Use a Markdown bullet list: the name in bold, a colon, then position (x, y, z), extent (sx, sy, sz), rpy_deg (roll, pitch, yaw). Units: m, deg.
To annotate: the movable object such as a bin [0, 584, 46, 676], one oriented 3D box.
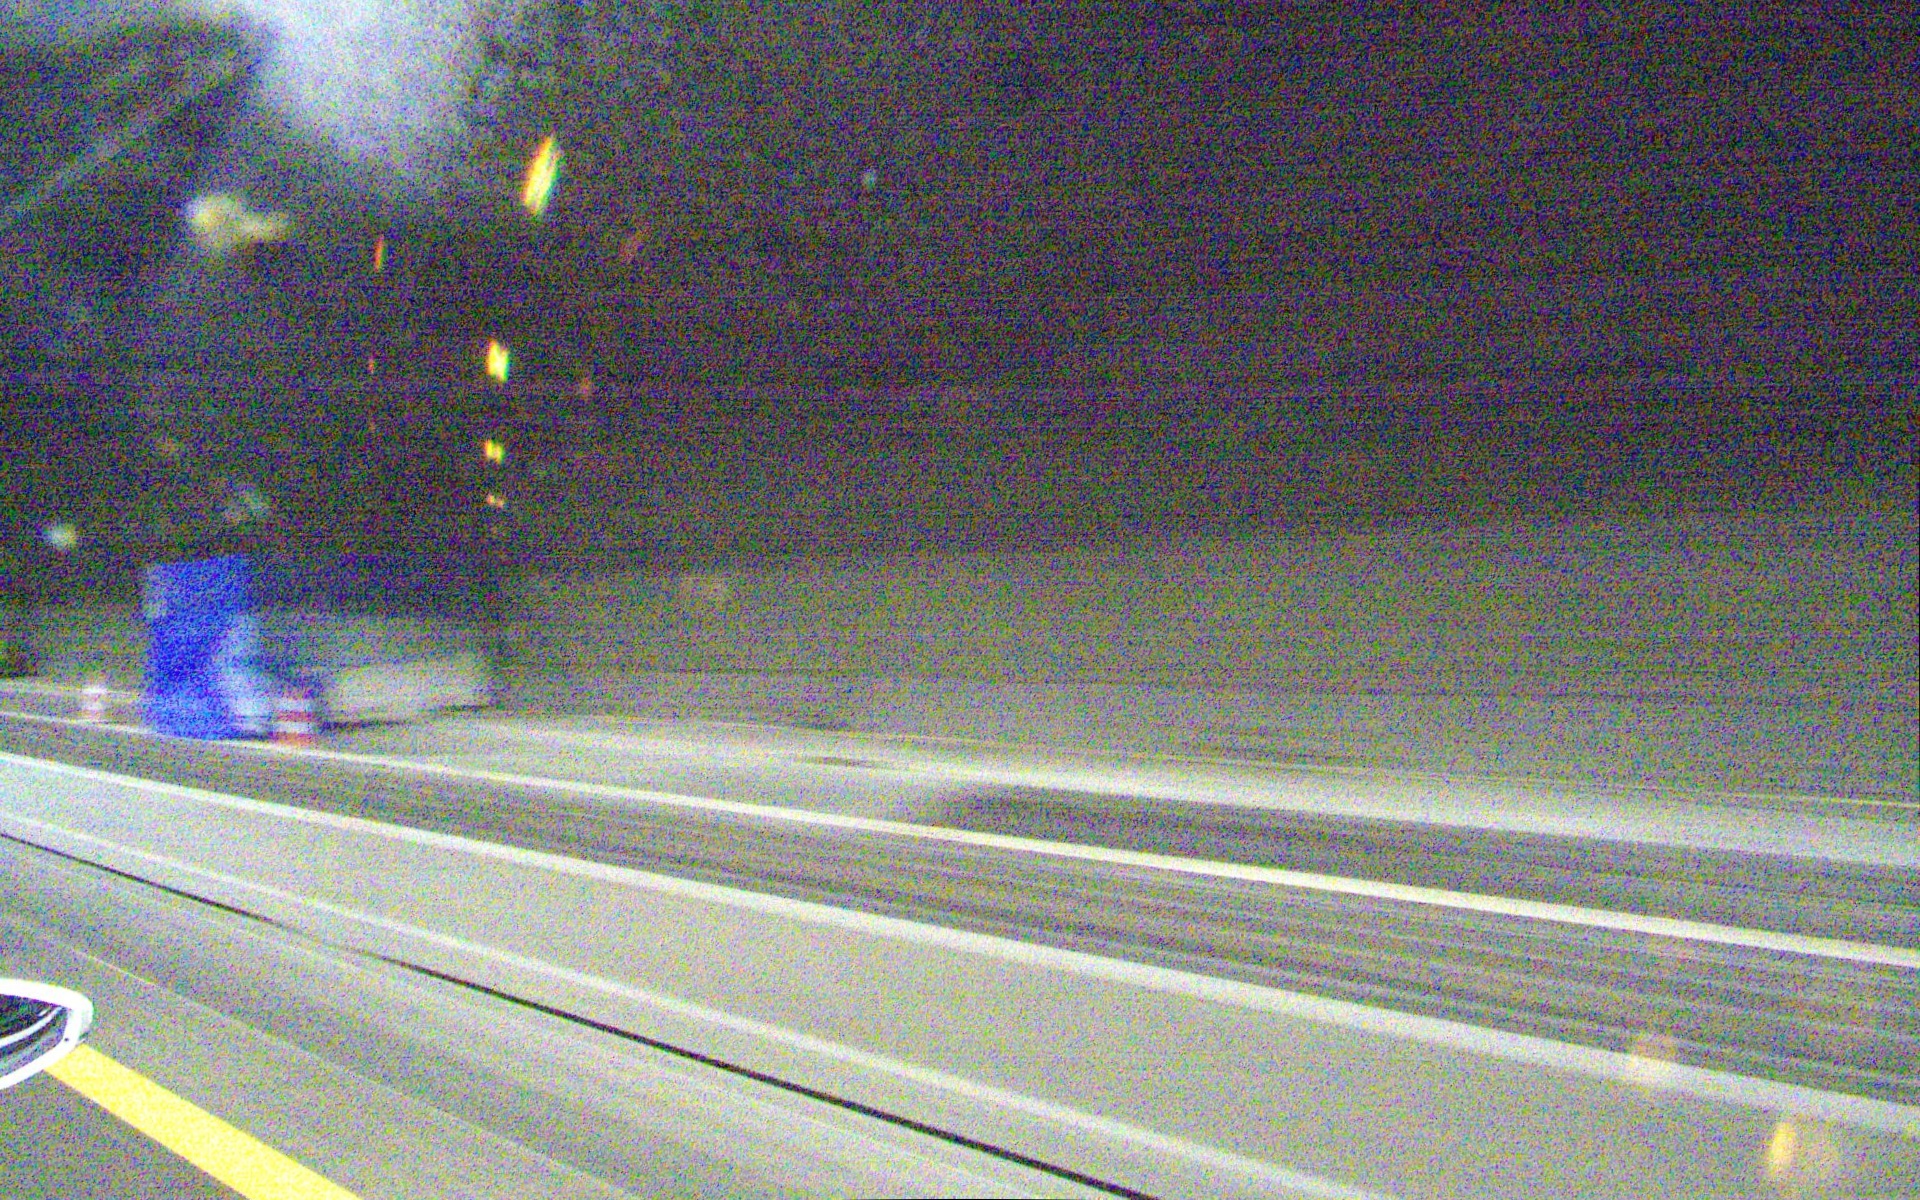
- **movable object such as a bin**: position (-26.981, 0.844, 27.452), extent (3.943, 2.413, 1.752), rpy_deg (-1, 2, 32)
